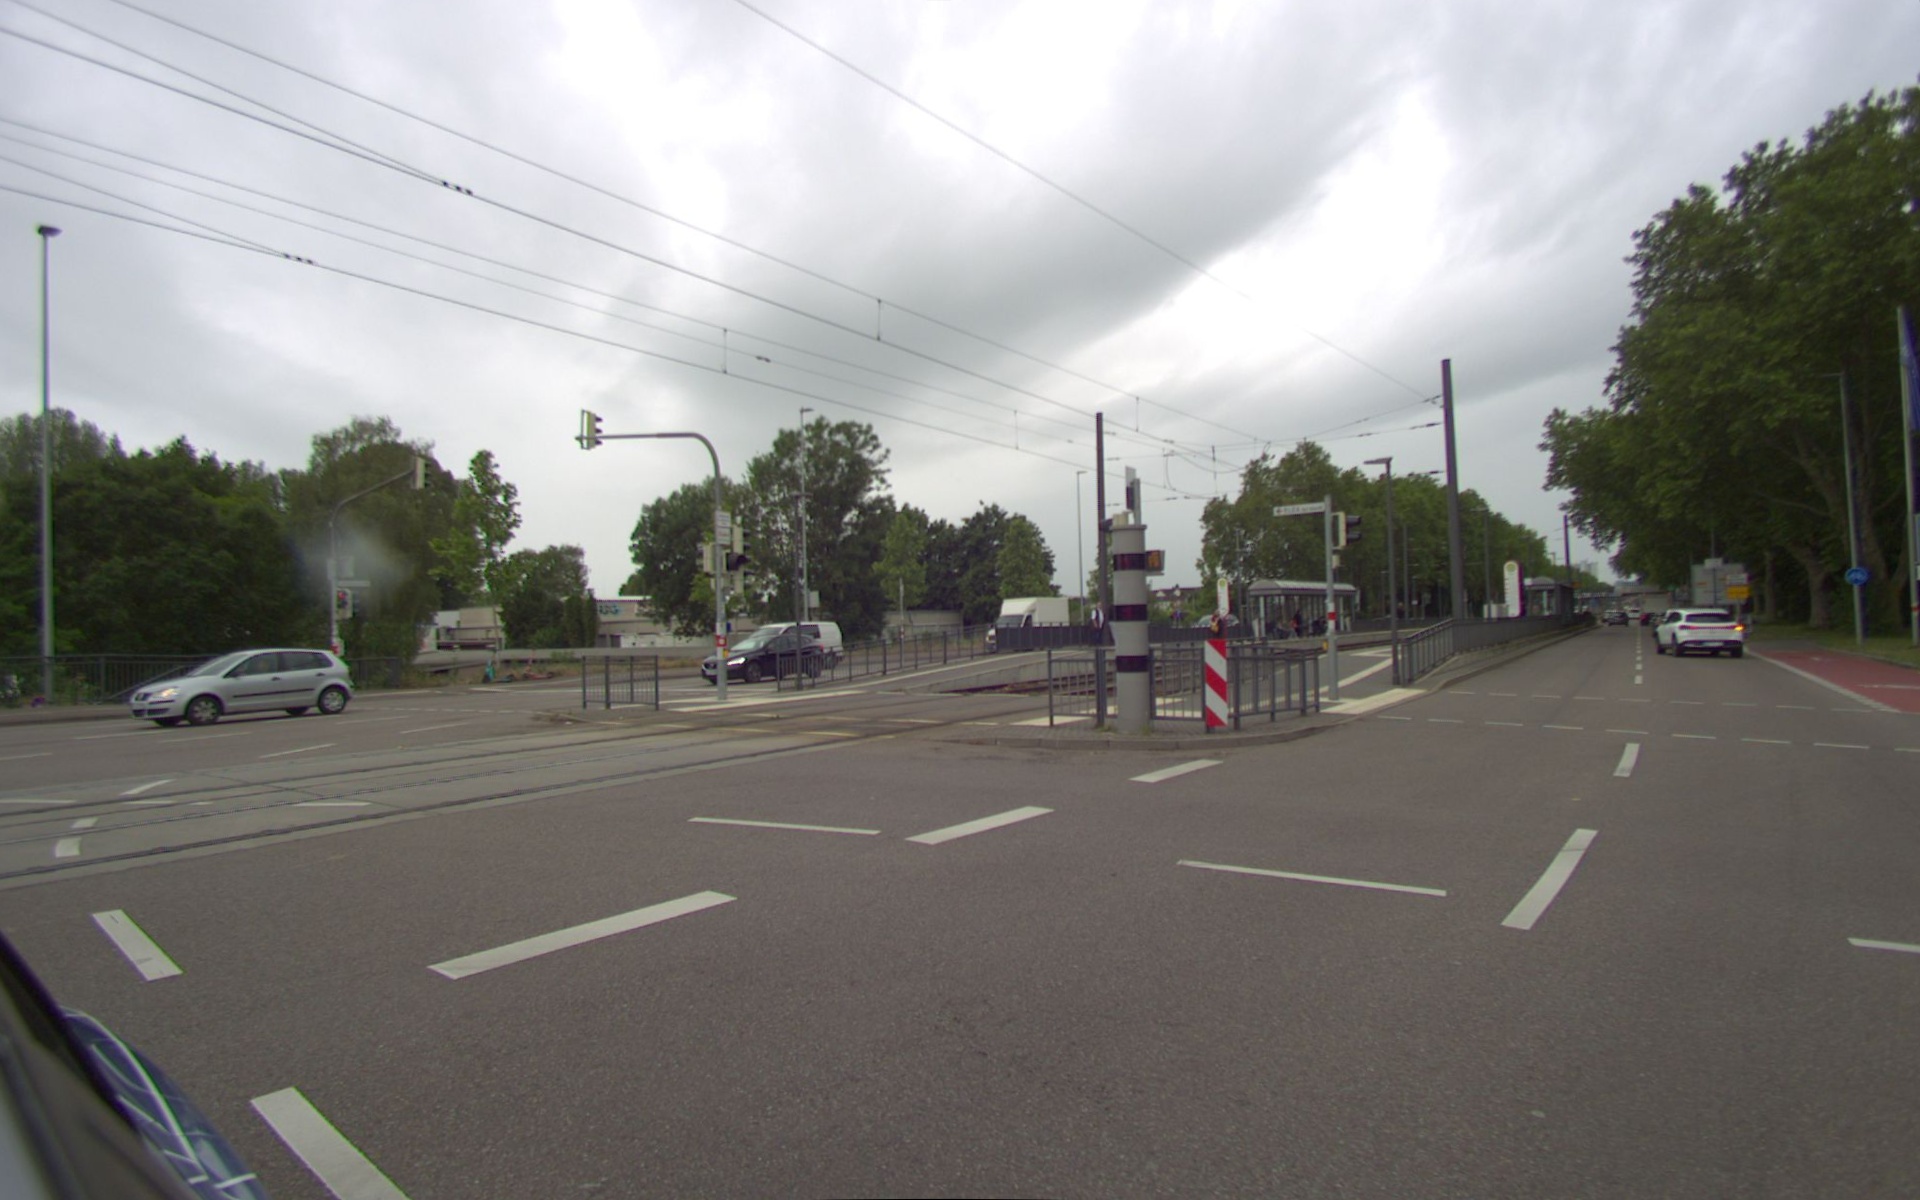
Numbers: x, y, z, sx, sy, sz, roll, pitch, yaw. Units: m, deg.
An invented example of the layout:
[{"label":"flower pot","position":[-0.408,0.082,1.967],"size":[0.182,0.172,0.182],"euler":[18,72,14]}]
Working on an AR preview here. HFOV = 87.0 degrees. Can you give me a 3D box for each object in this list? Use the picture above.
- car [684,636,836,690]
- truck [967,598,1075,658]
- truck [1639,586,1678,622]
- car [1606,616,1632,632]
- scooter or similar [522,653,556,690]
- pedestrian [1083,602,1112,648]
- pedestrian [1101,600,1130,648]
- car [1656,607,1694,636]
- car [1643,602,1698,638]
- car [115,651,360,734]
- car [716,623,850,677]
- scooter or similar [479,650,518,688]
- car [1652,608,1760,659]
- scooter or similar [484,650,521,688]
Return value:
[{"label":"car","position":[-6.029,1.883,30.870],"size":[1.997,1.401,4.289],"euler":[-5,-3,37]},{"label":"truck","position":[3.431,1.504,55.304],"size":[2.822,2.946,6.465],"euler":[-5,-3,35]},{"label":"truck","position":[74.073,0.431,107.517],"size":[3.253,3.691,9.782],"euler":[0,-1,34]},{"label":"car","position":[65.827,2.388,101.066],"size":[1.834,1.496,3.369],"euler":[-2,-2,39]},{"label":"scooter or similar","position":[-15.165,2.557,36.484],"size":[0.375,1.224,1.033],"euler":[-2,1,42]},{"label":"pedestrian","position":[4.892,0.875,35.959],"size":[0.710,1.572,0.624],"euler":[-5,-3,38]},{"label":"pedestrian","position":[5.811,0.892,37.897],"size":[0.787,1.755,0.579],"euler":[-5,-3,39]},{"label":"car","position":[40.509,1.175,57.393],"size":[1.629,1.528,3.384],"euler":[0,1,34]},{"label":"car","position":[33.794,0.911,48.226],"size":[1.791,1.597,4.100],"euler":[0,0,30]},{"label":"car","position":[-14.843,1.864,20.990],"size":[1.676,1.430,3.811],"euler":[-4,-3,29]},{"label":"car","position":[-6.846,1.935,39.733],"size":[2.097,1.894,5.055],"euler":[-5,-3,37]},{"label":"scooter or similar","position":[-16.015,2.398,35.158],"size":[0.478,1.252,1.138],"euler":[-2,-2,42]},{"label":"car","position":[25.099,1.098,34.223],"size":[1.881,1.597,4.377],"euler":[-1,-1,23]},{"label":"scooter or similar","position":[-16.154,2.425,35.724],"size":[0.390,1.252,1.140],"euler":[-2,-2,37]}]
